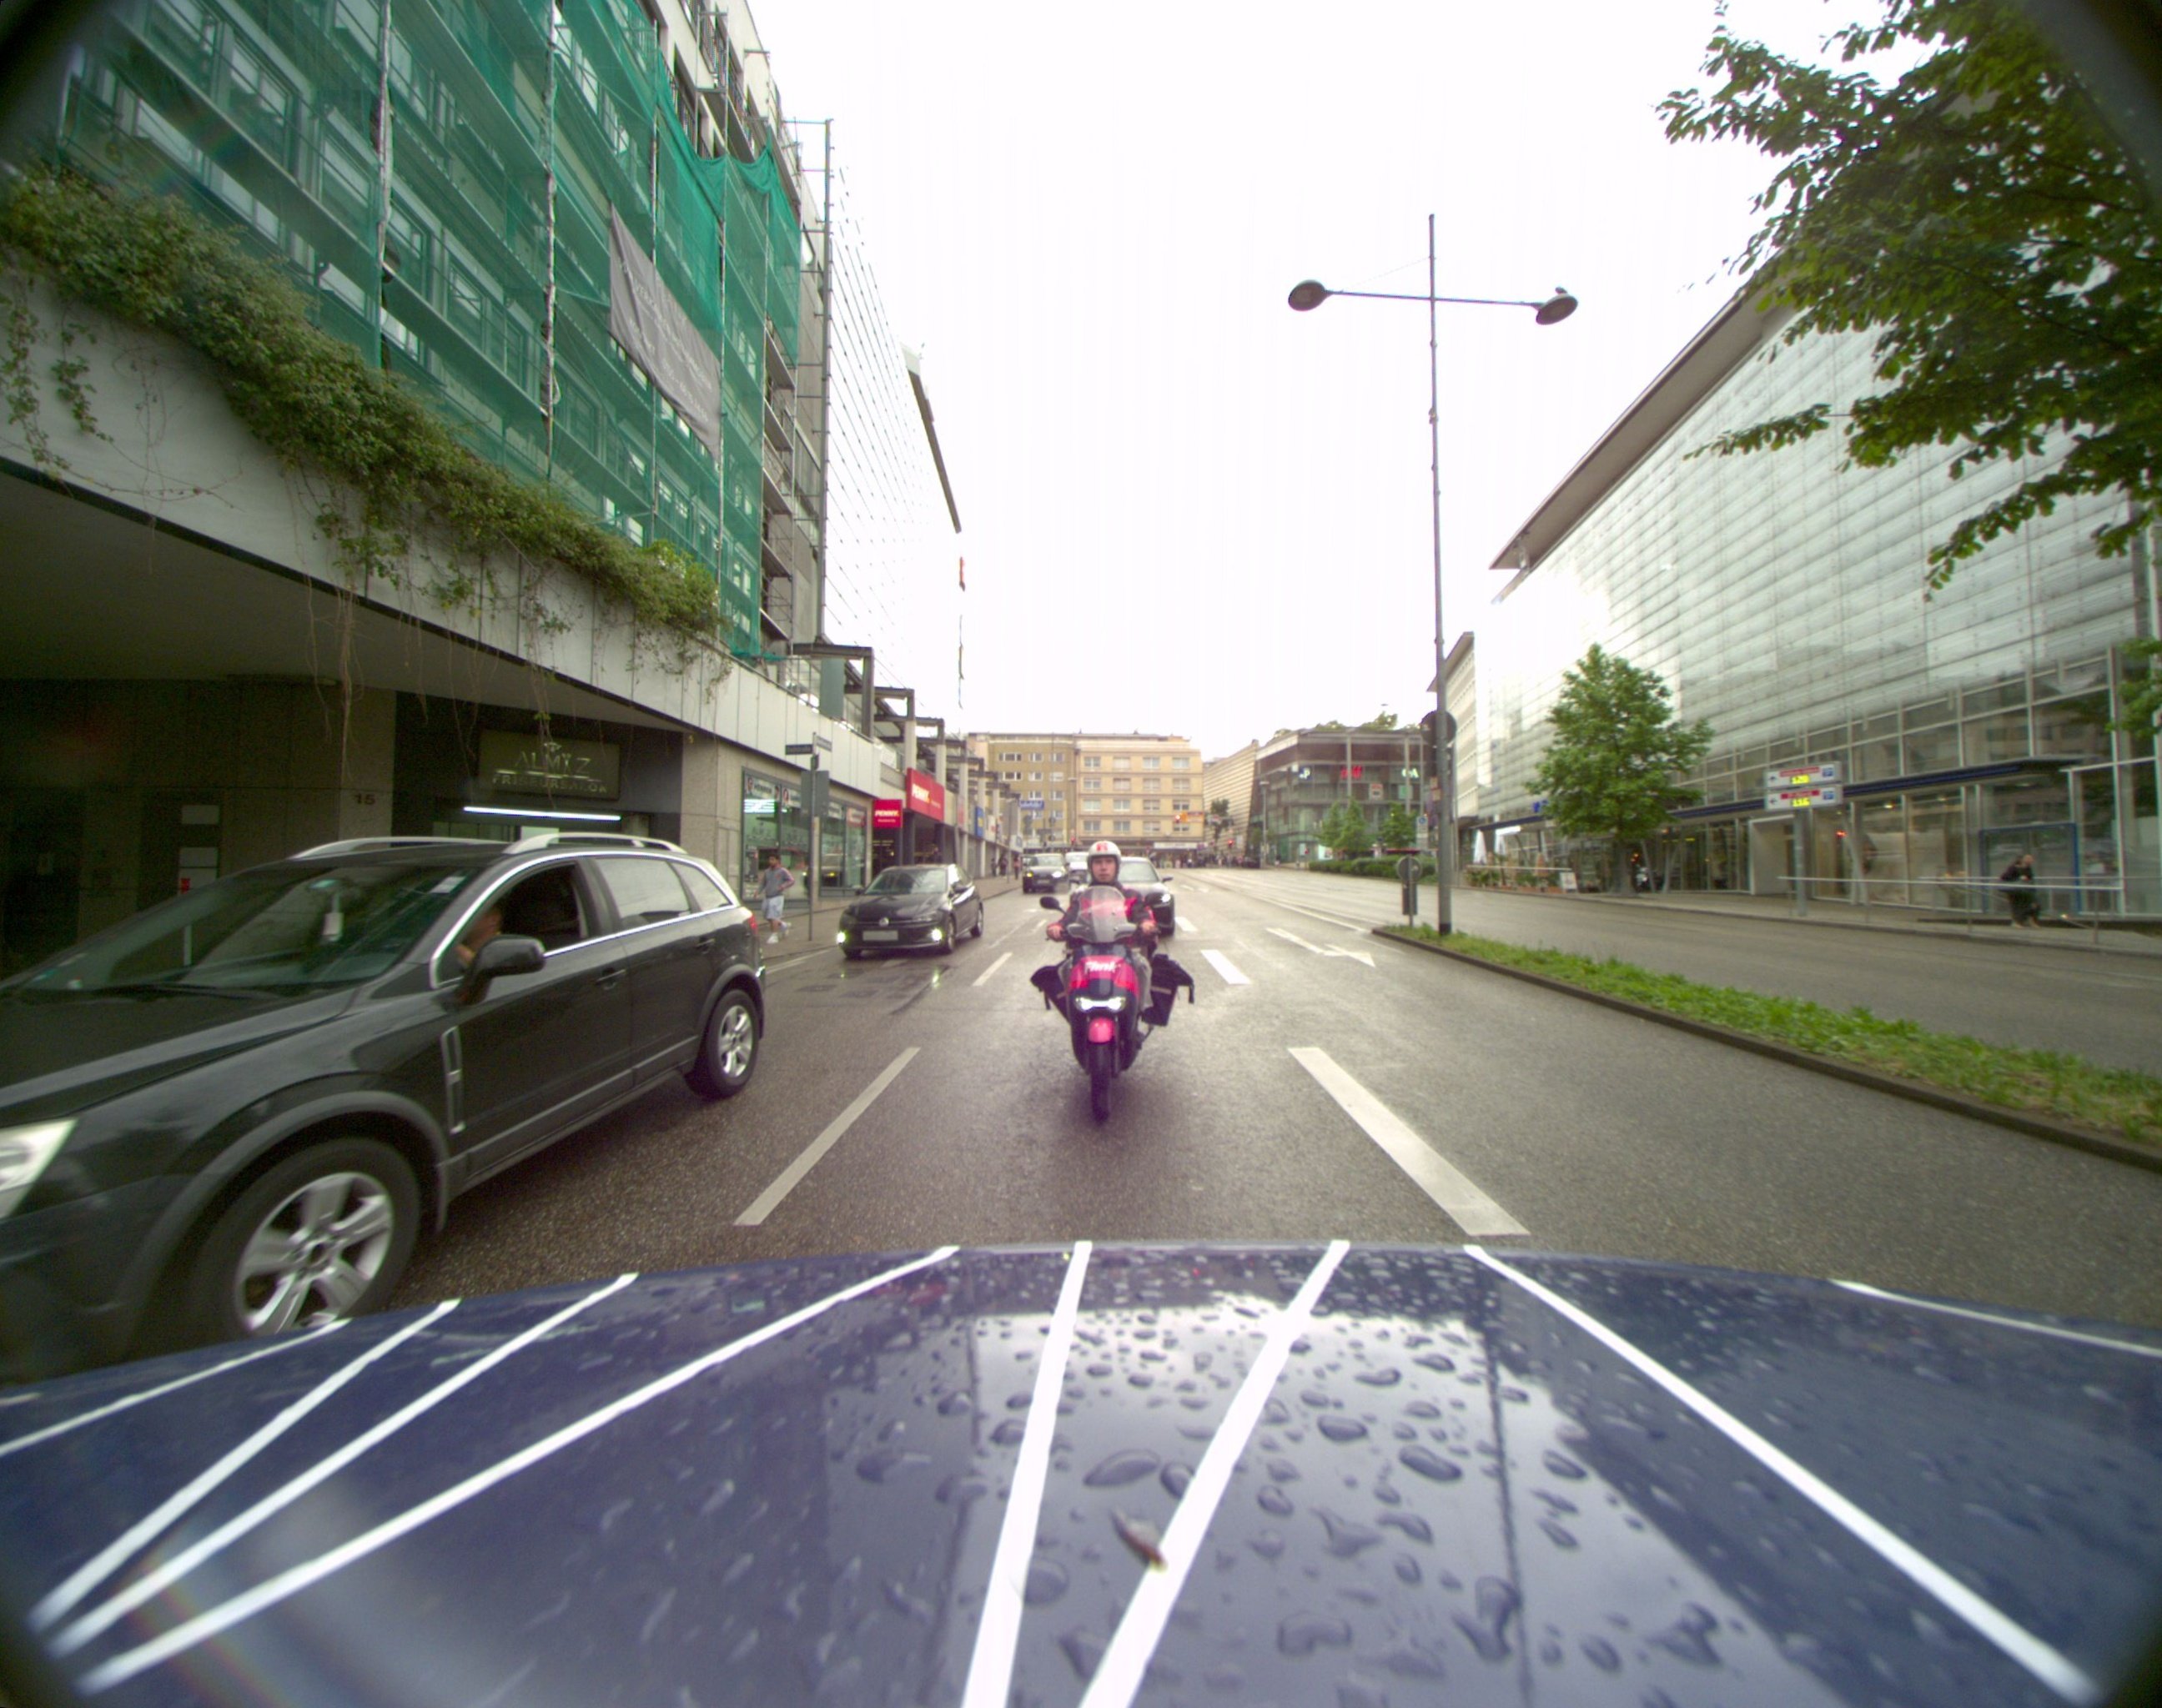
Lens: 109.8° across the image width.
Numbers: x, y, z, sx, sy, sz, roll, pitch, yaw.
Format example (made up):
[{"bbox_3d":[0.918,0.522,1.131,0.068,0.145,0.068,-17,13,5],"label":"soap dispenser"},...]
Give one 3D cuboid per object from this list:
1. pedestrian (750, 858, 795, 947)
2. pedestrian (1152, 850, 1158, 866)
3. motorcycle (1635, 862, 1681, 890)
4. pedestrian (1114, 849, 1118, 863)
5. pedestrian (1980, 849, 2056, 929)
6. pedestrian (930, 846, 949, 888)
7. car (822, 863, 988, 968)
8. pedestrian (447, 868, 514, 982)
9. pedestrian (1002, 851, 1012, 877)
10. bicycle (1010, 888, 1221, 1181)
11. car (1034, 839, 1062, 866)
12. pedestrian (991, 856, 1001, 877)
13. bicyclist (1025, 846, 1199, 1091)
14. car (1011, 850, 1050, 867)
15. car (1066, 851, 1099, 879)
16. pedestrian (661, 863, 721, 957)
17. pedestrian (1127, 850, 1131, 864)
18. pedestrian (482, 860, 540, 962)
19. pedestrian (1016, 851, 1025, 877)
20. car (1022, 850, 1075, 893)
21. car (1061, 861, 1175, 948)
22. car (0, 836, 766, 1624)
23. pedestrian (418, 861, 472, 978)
[{"bbox_3d":[-5.800,0.893,14.311,0.579,1.618,0.676,0,2,-4],"label":"pedestrian"},{"bbox_3d":[8.368,0.482,86.110,0.626,1.764,0.689,-2,2,5],"label":"pedestrian"},{"bbox_3d":[28.145,1.074,37.073,1.707,1.319,0.620,0,1,1],"label":"motorcycle"},{"bbox_3d":[3.940,0.210,84.709,0.428,1.620,0.602,1,1,5],"label":"pedestrian"},{"bbox_3d":[19.778,0.718,16.055,0.635,1.628,0.790,-2,2,8],"label":"pedestrian"},{"bbox_3d":[-5.675,0.514,30.436,0.578,1.669,0.511,1,2,22],"label":"pedestrian"},{"bbox_3d":[-2.860,0.940,13.327,1.759,1.495,4.165,-2,-1,2],"label":"car"},{"bbox_3d":[-8.835,1.023,11.199,0.640,1.586,0.576,-3,2,-32],"label":"pedestrian"},{"bbox_3d":[-4.206,0.563,42.998,0.510,1.492,0.579,0,2,0],"label":"pedestrian"},{"bbox_3d":[0.193,0.988,5.343,1.034,1.279,2.948,-2,1,1],"label":"bicycle"},{"bbox_3d":[-2.600,-0.138,60.873,1.605,2.002,3.401,-2,1,7],"label":"car"},{"bbox_3d":[-4.830,0.704,43.135,0.510,1.160,0.579,0,2,0],"label":"pedestrian"},{"bbox_3d":[0.205,0.730,5.260,1.063,1.534,0.825,-2,2,0],"label":"bicyclist"},{"bbox_3d":[-6.107,0.490,91.991,4.585,2.002,1.999,0,1,-3],"label":"car"},{"bbox_3d":[0.125,0.619,43.712,1.675,1.520,4.165,-2,-1,2],"label":"car"},{"bbox_3d":[-7.083,1.001,13.832,0.639,1.633,0.733,-2,2,-3],"label":"pedestrian"},{"bbox_3d":[5.417,0.348,86.528,0.428,1.620,0.602,1,1,3],"label":"pedestrian"},{"bbox_3d":[-10.548,1.021,14.063,0.771,1.805,0.745,2,2,44],"label":"pedestrian"},{"bbox_3d":[-3.417,0.568,42.983,0.510,1.492,0.579,0,2,0],"label":"pedestrian"},{"bbox_3d":[-1.313,0.686,32.153,1.841,1.598,4.164,-2,1,2],"label":"car"},{"bbox_3d":[0.718,0.889,15.064,1.890,1.392,4.164,-2,0,2],"label":"car"},{"bbox_3d":[-3.260,0.883,3.453,1.764,1.755,4.164,-2,-1,2],"label":"car"},{"bbox_3d":[-9.611,0.969,11.483,0.466,1.698,0.484,0,2,42],"label":"pedestrian"}]
